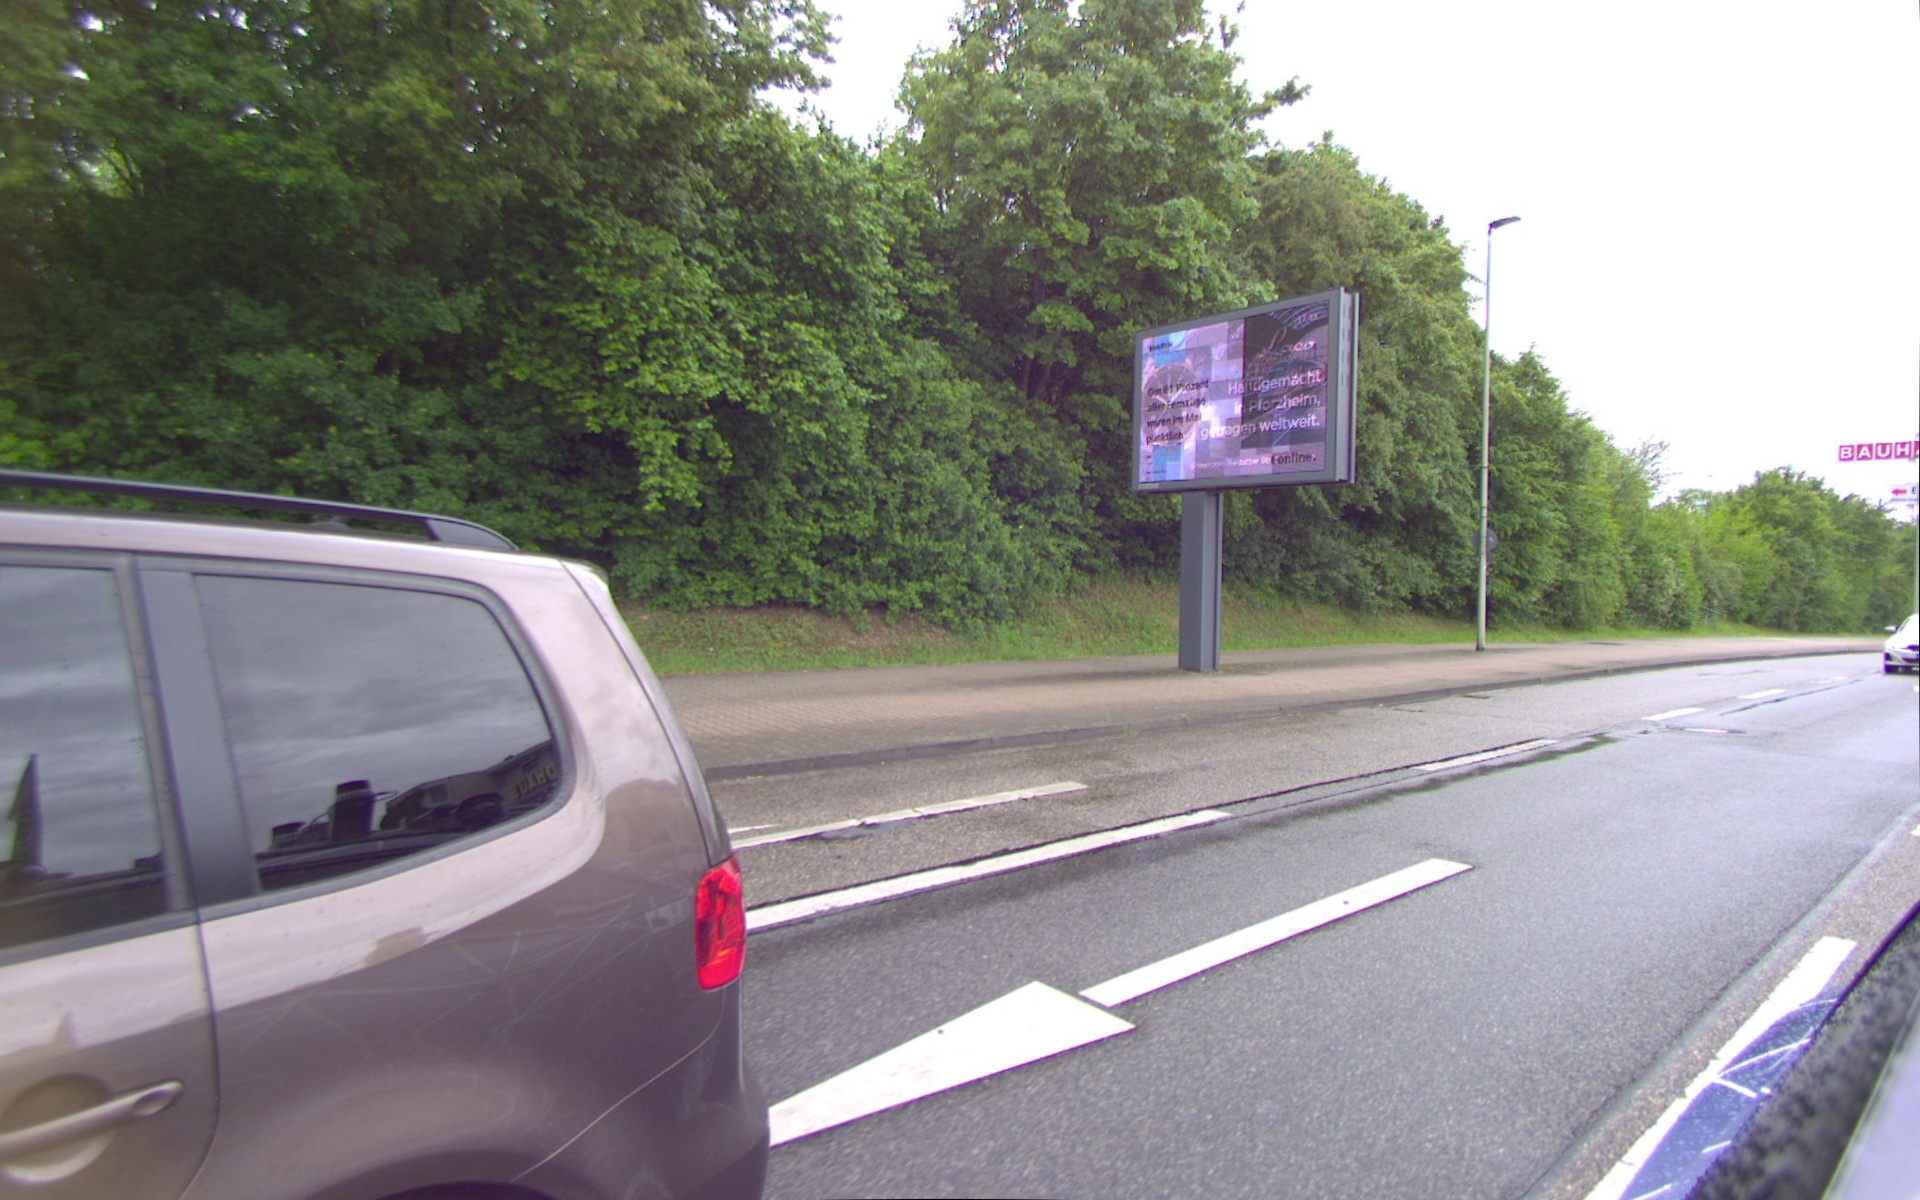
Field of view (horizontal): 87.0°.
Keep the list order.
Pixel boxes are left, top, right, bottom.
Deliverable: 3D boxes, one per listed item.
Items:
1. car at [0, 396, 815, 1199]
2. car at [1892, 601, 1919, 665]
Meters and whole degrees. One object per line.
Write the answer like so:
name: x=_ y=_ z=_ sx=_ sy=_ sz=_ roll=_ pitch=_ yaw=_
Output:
car: x=-2.337 y=0.565 z=1.026 sx=4.059 sy=1.617 sz=1.716 roll=1 pitch=0 yaw=-42
car: x=24.296 y=0.829 z=24.458 sx=3.924 sy=1.500 sz=1.865 roll=1 pitch=0 yaw=-36
